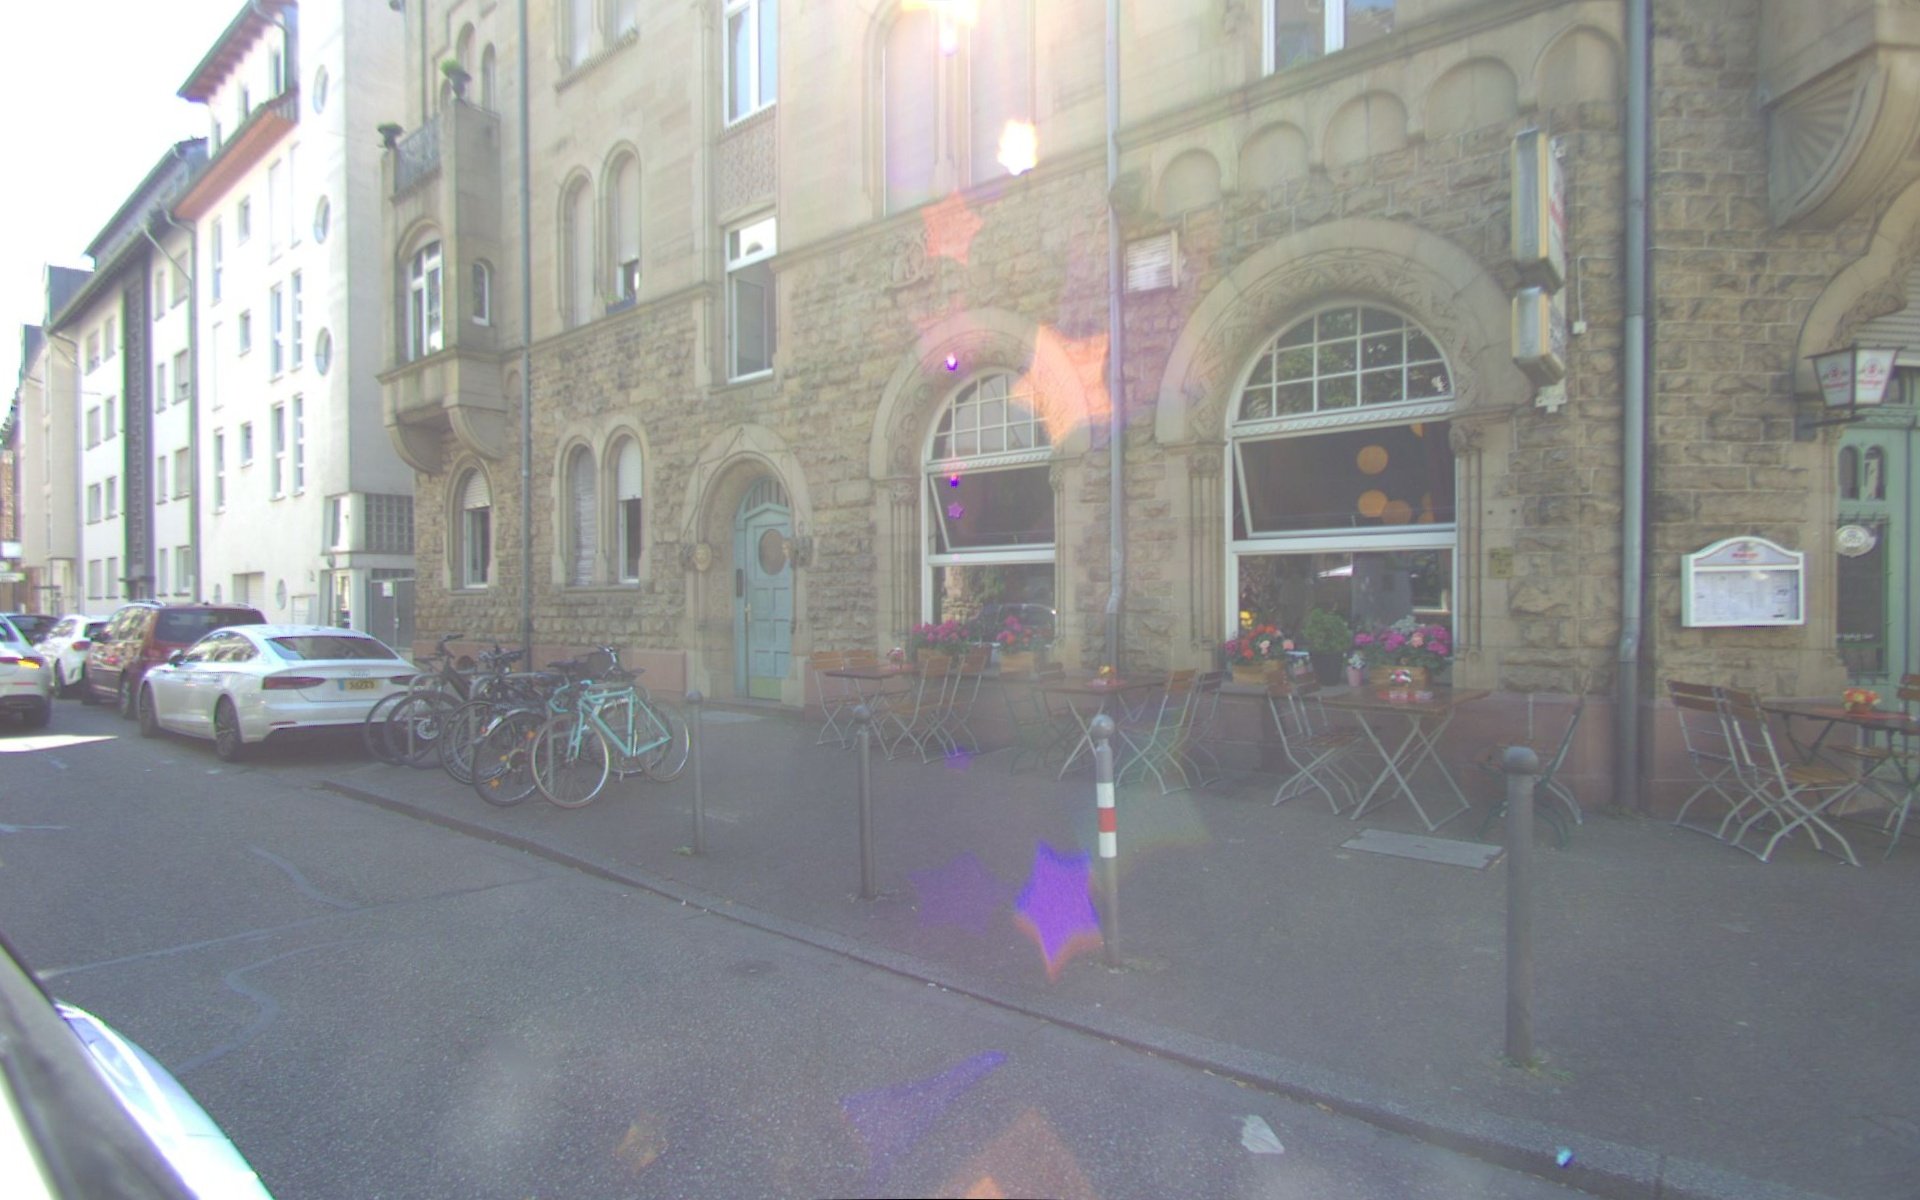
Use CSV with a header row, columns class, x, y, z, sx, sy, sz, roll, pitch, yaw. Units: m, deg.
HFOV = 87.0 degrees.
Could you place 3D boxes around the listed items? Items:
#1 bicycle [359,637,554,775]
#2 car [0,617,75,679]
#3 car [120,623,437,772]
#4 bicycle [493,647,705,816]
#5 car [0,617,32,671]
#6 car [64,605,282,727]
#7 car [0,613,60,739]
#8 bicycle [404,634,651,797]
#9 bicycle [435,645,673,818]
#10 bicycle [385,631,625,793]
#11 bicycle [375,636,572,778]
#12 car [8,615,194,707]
class,x,y,z,sx,sy,sz,roll,pitch,yaw
bicycle,-4.702,0.946,9.566,0.291,1.108,1.687,-1,1,36
car,-24.576,1.220,26.453,3.891,1.503,1.551,-1,-3,40
car,-7.933,0.990,11.610,4.509,1.363,1.685,0,-3,38
bicycle,-2.611,0.913,7.475,0.366,1.015,1.511,-1,1,36
car,-28.902,1.247,29.859,4.668,1.530,1.639,-1,-3,40
car,-11.853,0.916,15.162,4.048,1.595,1.656,-1,-3,39
car,-13.148,0.888,12.931,4.359,1.472,1.822,-1,-3,40
bicycle,-3.601,0.905,8.611,0.435,1.138,1.977,-1,1,36
bicycle,-3.007,0.927,7.669,0.413,1.053,1.689,-1,1,36
bicycle,-3.934,0.915,8.928,0.394,1.138,1.954,-1,2,36
bicycle,-4.450,0.940,9.384,0.291,1.108,1.687,-1,1,36
car,-15.654,1.037,18.375,4.274,1.471,1.759,0,-3,39
